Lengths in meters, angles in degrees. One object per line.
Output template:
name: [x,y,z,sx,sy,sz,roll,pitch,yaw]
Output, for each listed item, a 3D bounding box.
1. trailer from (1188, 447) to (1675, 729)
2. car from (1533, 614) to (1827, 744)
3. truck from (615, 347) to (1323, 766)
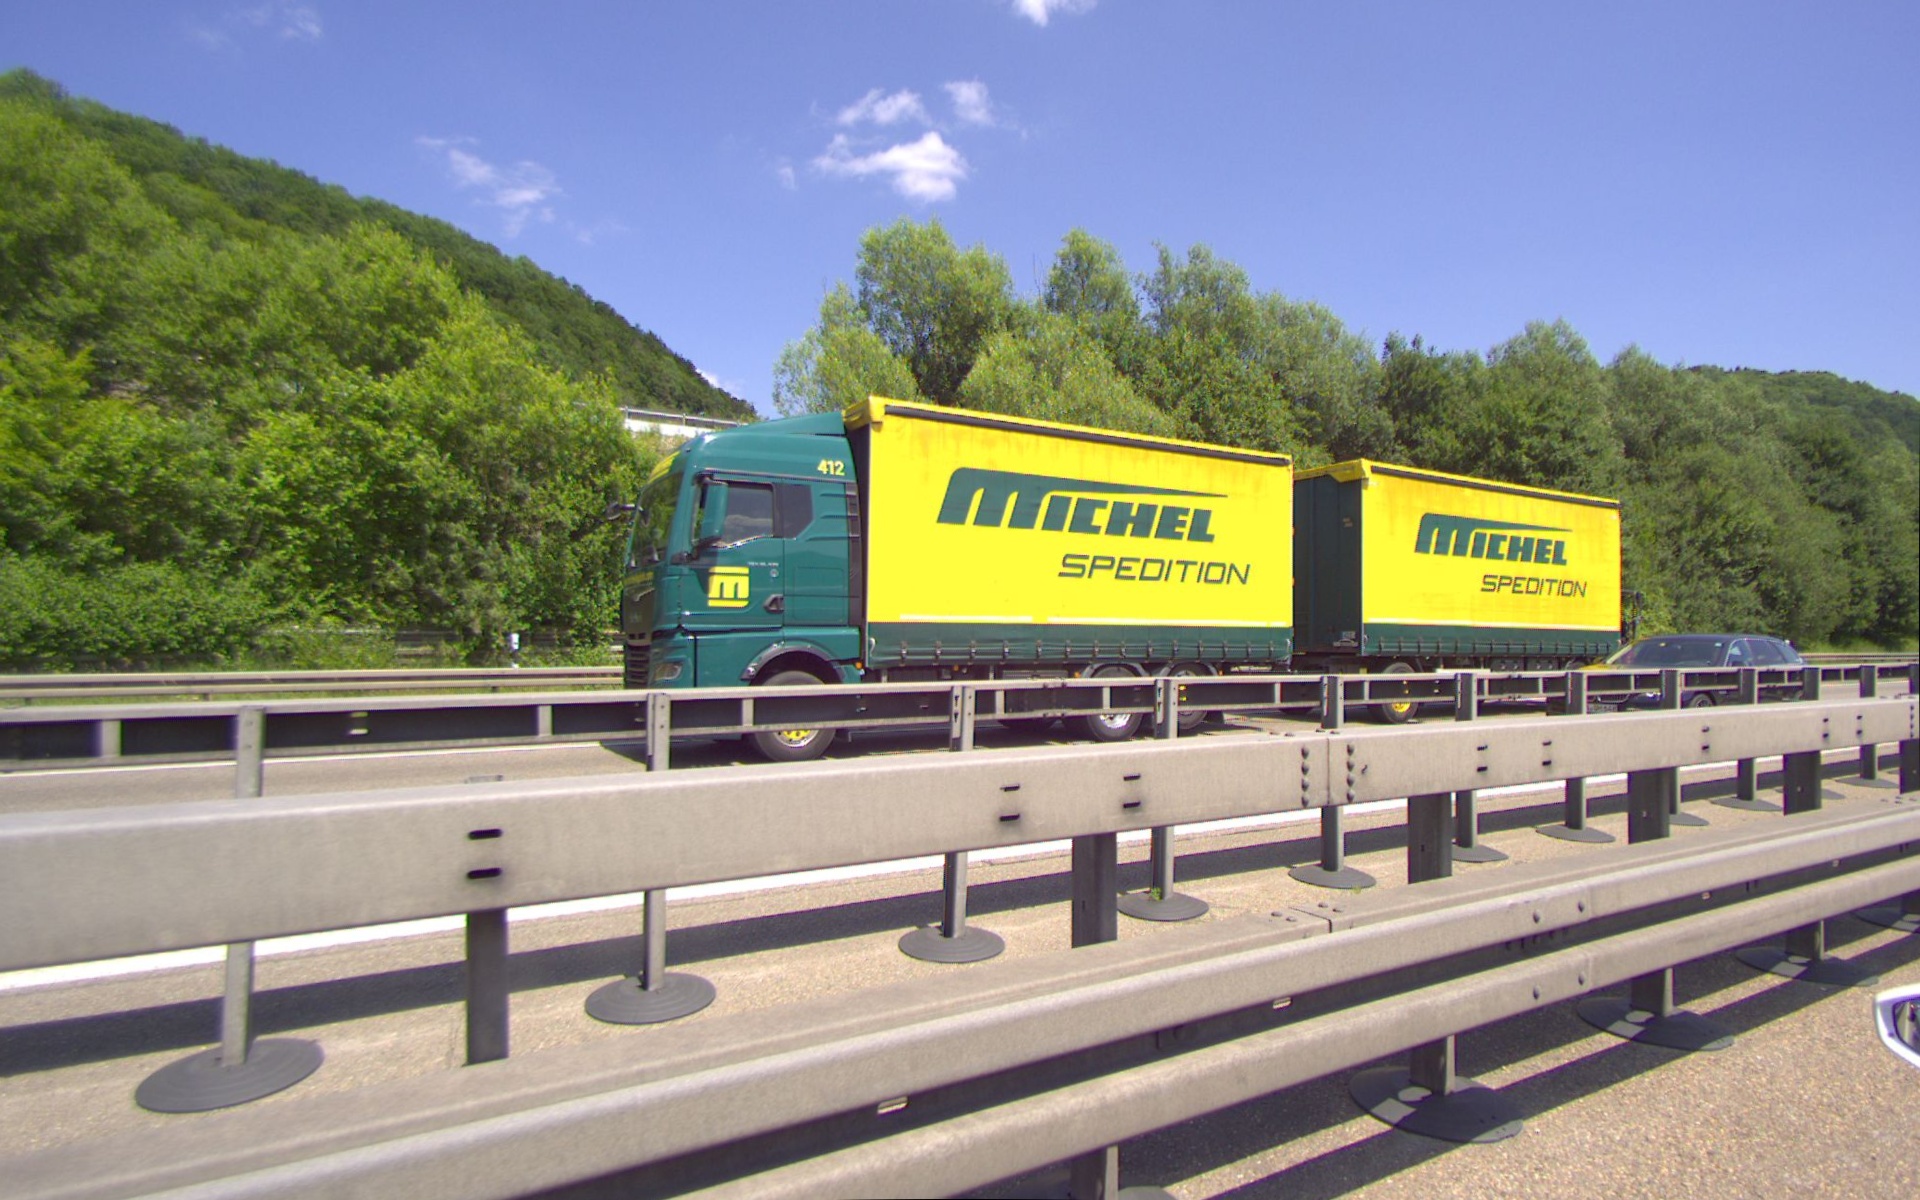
trailer: [9.127,-0.055,18.743,10.282,4.202,2.813,2,0,-30]
car: [10.528,1.045,14.592,4.698,1.617,1.836,1,-1,-32]
truck: [0.532,-0.322,13.712,9.502,4.202,2.813,2,0,-30]
